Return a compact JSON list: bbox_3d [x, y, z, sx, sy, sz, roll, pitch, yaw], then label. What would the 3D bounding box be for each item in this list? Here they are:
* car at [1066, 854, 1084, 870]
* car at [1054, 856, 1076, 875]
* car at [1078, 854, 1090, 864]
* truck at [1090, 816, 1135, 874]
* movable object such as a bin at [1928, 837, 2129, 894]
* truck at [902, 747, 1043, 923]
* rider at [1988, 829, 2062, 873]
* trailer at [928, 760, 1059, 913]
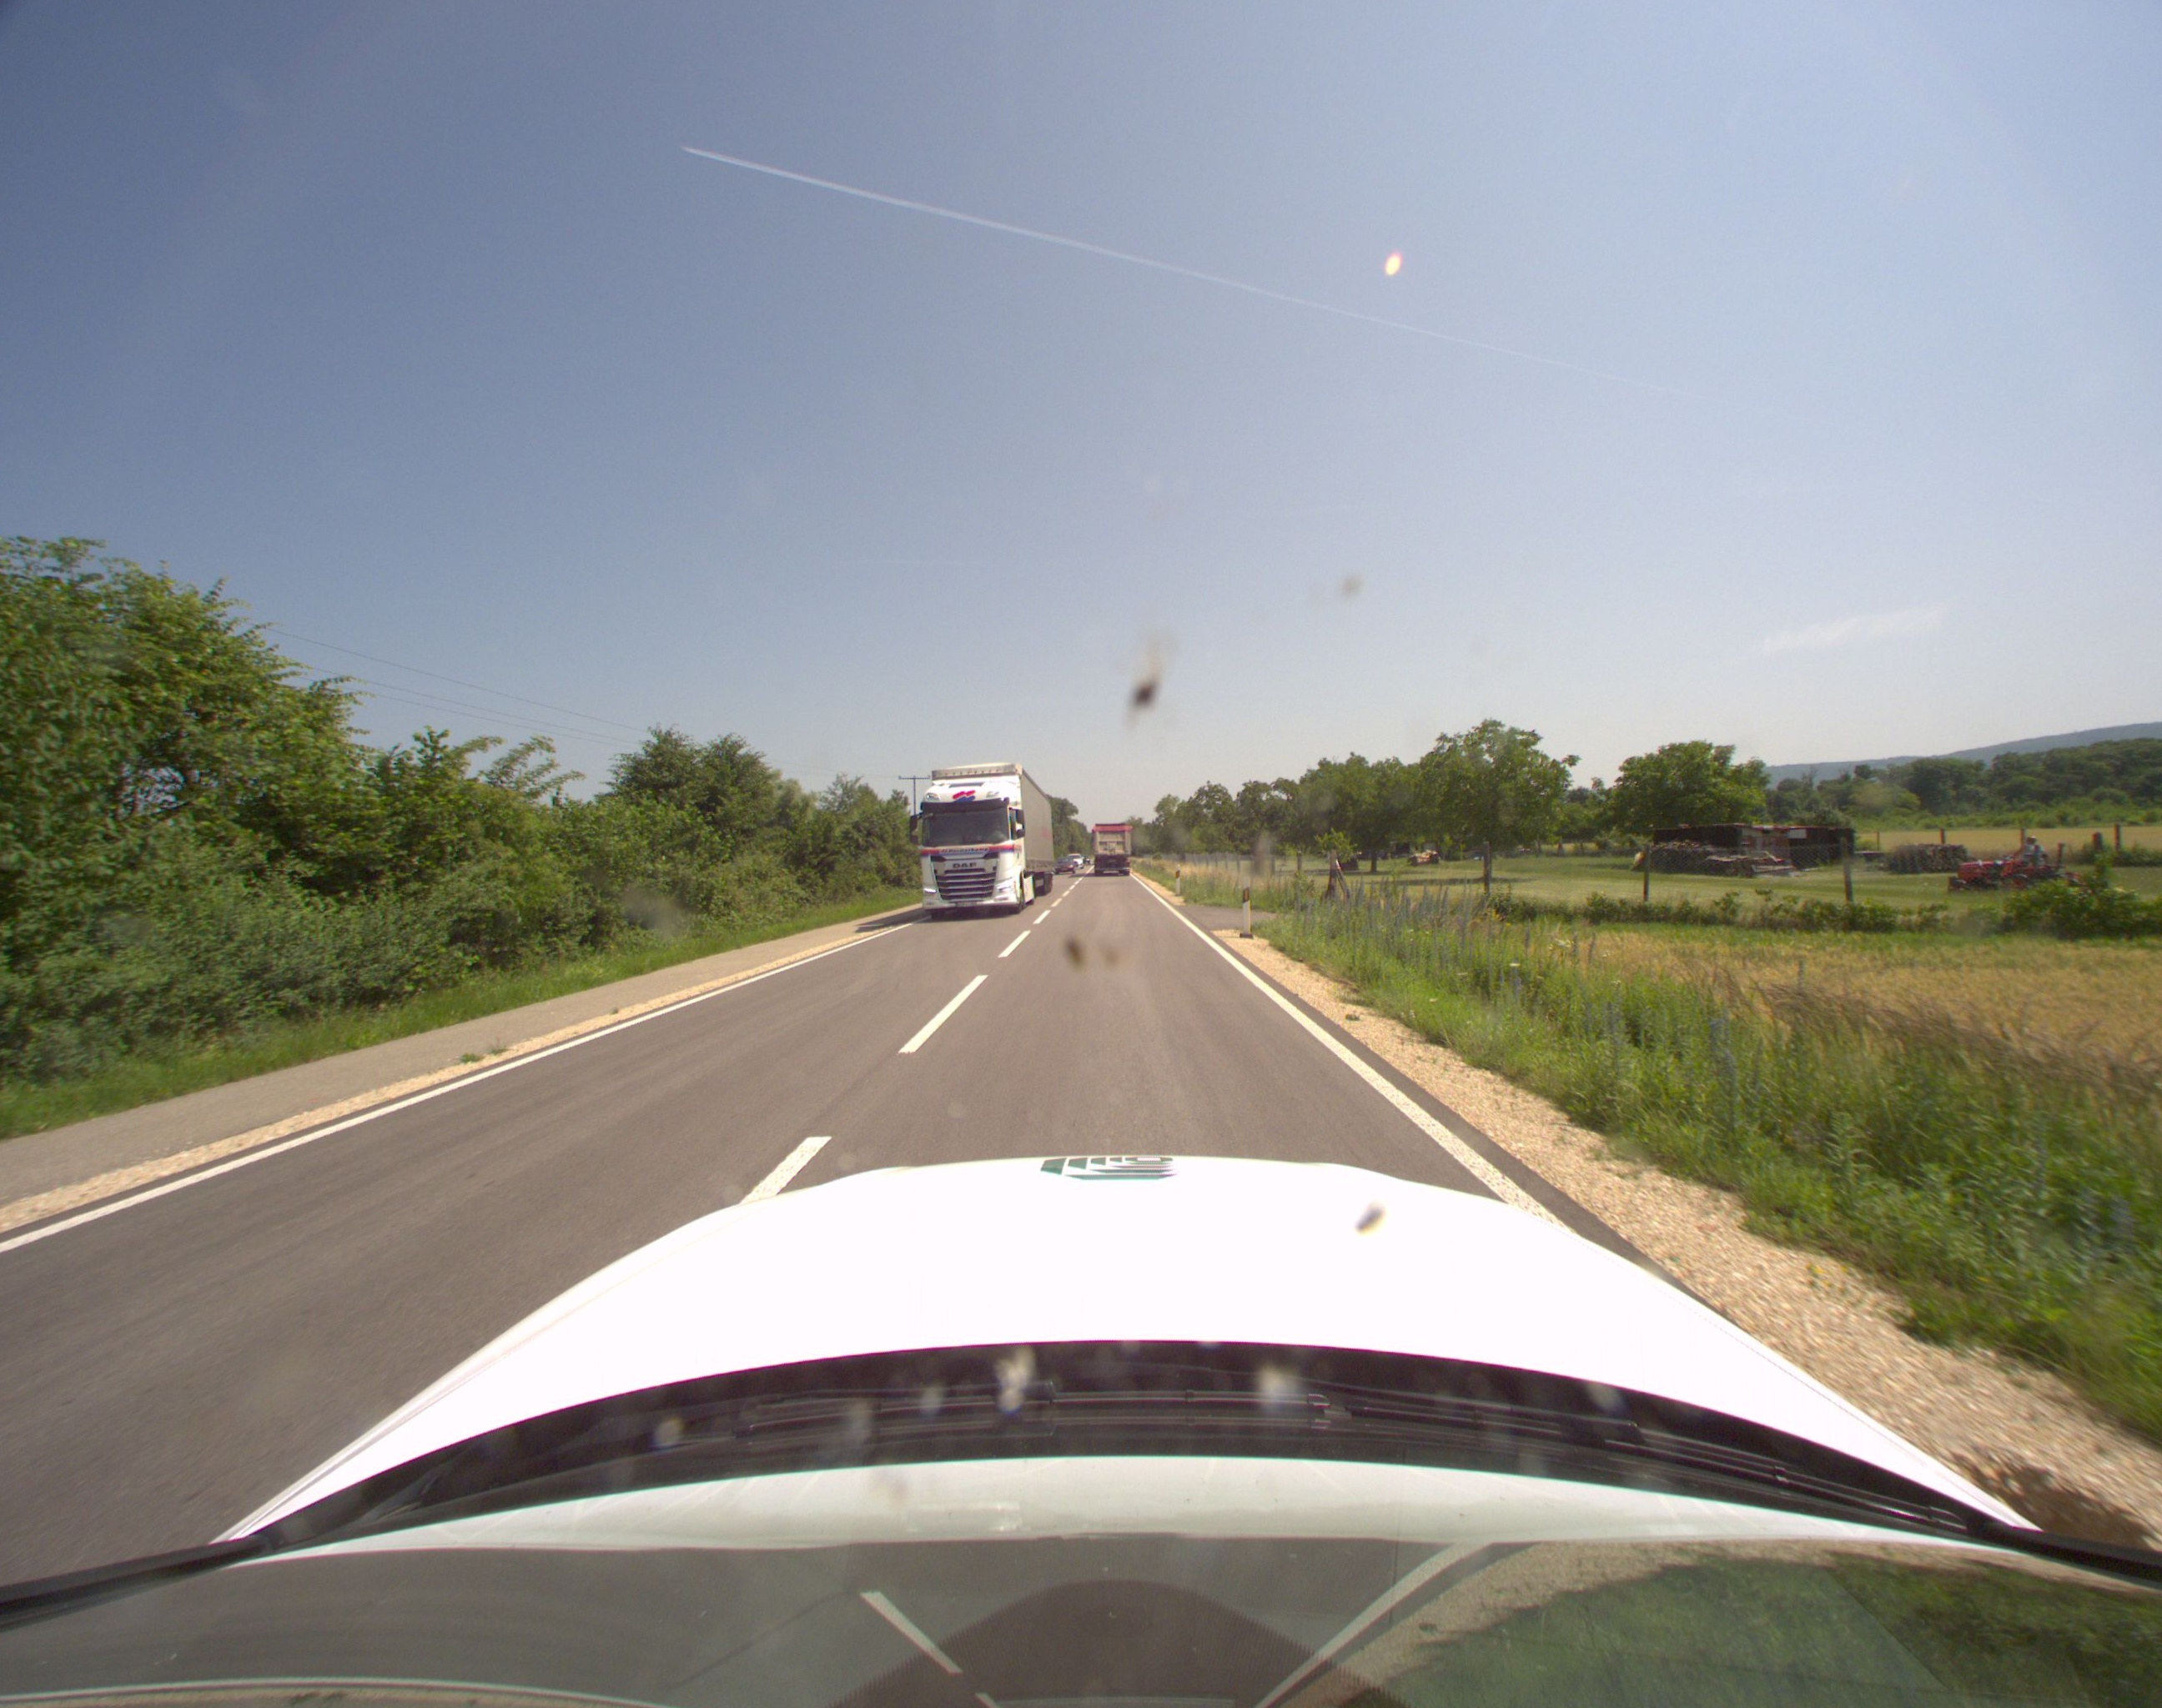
[{"bbox_3d":[-0.612,0.852,87.875,1.752,1.606,4.482,-4,0,1],"label":"car"},{"bbox_3d":[-1.319,0.913,68.282,1.689,1.406,4.046,-4,0,0],"label":"car"},{"bbox_3d":[0.442,0.792,127.402,1.752,1.357,4.047,-4,0,1],"label":"car"},{"bbox_3d":[2.287,-0.582,60.807,2.998,3.874,12.213,0,0,2],"label":"truck"},{"bbox_3d":[27.561,0.318,23.877,1.567,1.496,3.655,-2,0,-3],"label":"movable object such as a bin"},{"bbox_3d":[-2.911,-0.496,24.221,2.707,4.265,7.393,-4,0,2],"label":"truck"},{"bbox_3d":[27.579,-0.079,23.818,1.022,1.217,0.984,-2,0,-5],"label":"rider"},{"bbox_3d":[-2.710,-0.522,30.476,2.707,4.265,13.816,-4,0,2],"label":"trailer"}]
